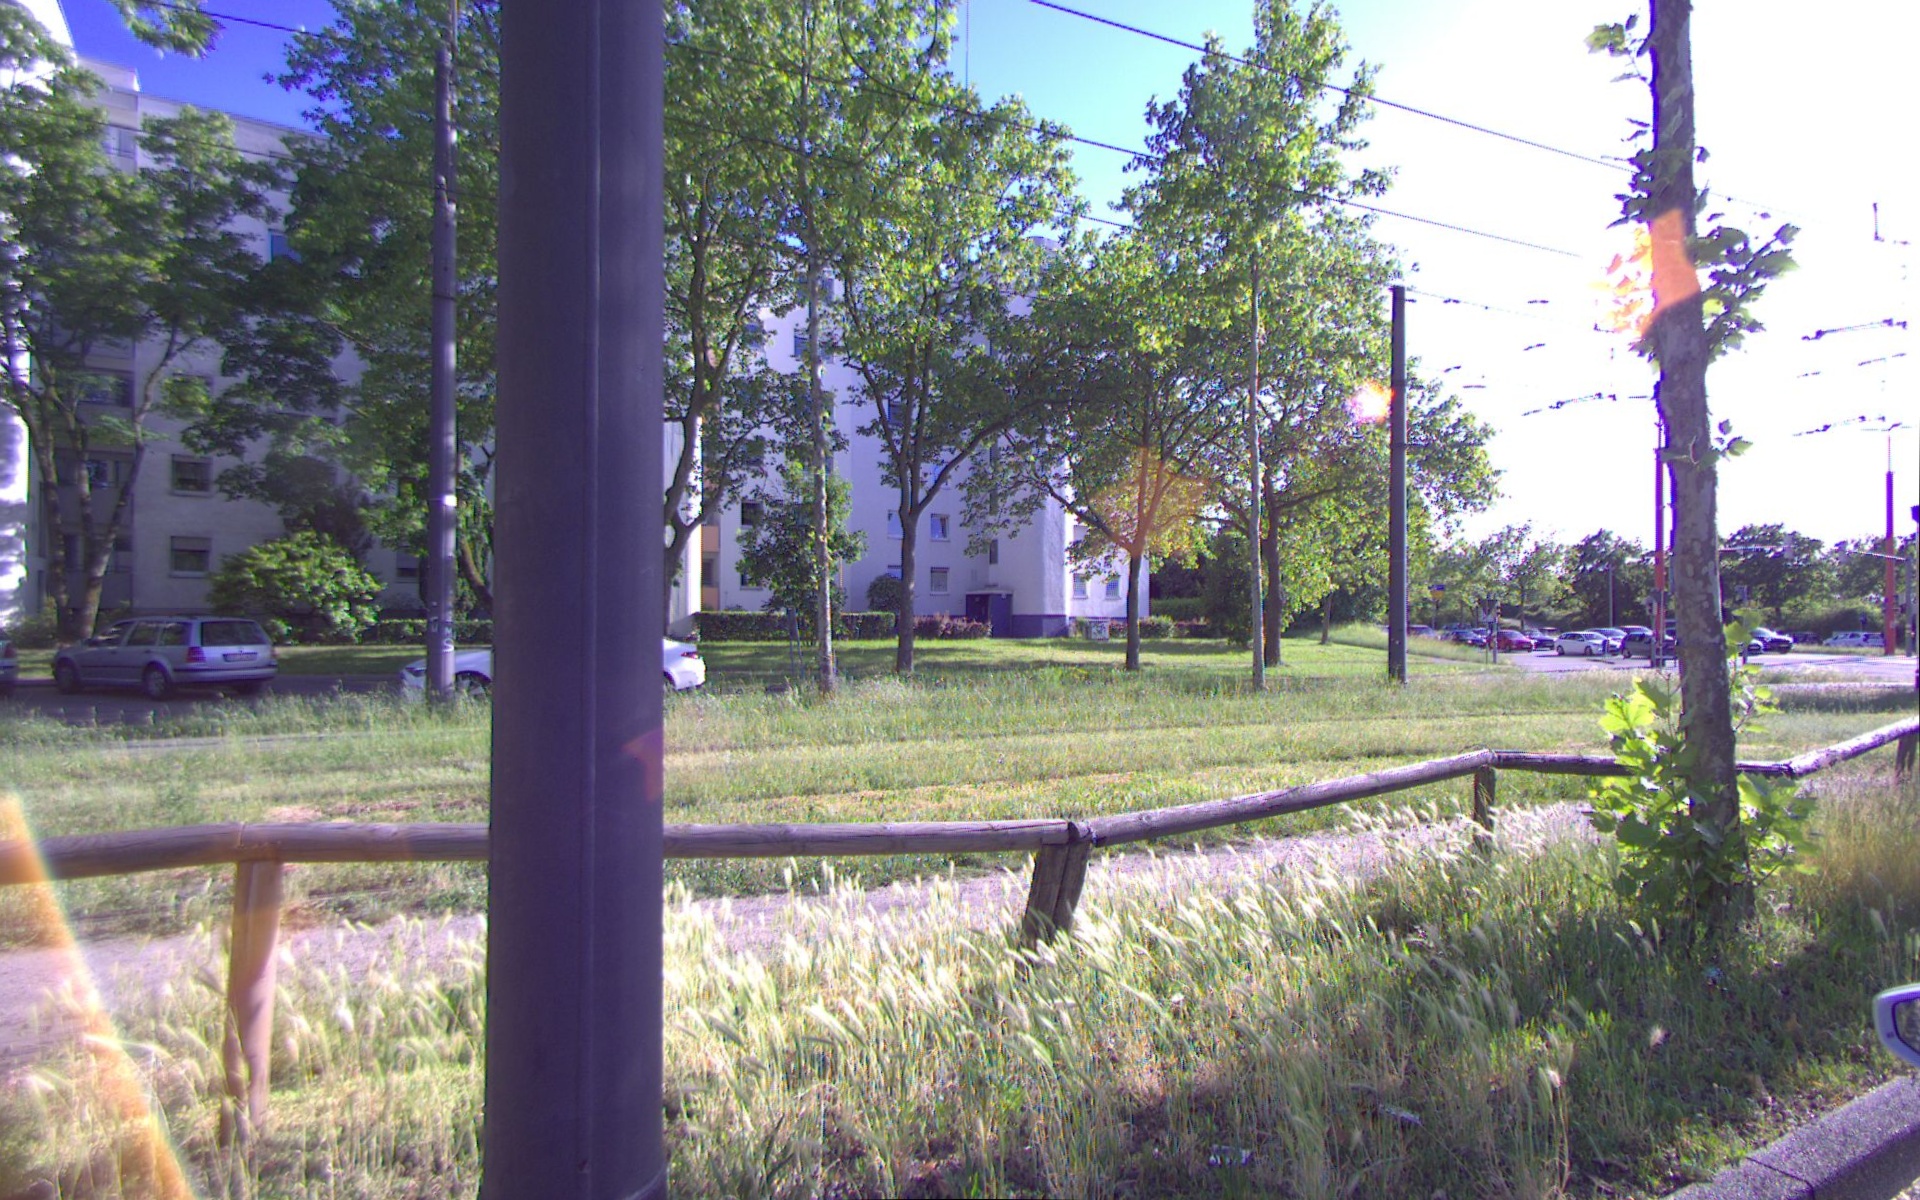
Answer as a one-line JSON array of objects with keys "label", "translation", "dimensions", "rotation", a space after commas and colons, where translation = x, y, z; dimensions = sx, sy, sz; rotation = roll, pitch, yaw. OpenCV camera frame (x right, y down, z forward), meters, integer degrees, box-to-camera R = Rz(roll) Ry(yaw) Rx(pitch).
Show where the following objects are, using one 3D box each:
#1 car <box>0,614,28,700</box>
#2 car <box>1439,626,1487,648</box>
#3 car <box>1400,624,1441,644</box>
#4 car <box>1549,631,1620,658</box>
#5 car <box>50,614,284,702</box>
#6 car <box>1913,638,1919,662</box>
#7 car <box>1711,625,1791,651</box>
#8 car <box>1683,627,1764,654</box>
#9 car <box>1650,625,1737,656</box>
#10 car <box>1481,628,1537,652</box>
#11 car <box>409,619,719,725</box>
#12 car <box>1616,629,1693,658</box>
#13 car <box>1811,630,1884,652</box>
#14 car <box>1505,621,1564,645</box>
[{"label": "car", "translation": [-17.987, 0.942, 17.150], "dimensions": [3.567, 1.421, 1.581], "rotation": [1, 0, 20]}, {"label": "car", "translation": [38.659, 2.808, 77.247], "dimensions": [1.624, 1.540, 4.200], "rotation": [1, -1, 1]}, {"label": "car", "translation": [38.641, 2.807, 84.387], "dimensions": [1.624, 1.540, 4.200], "rotation": [1, -1, 1]}, {"label": "car", "translation": [38.916, 2.749, 62.729], "dimensions": [1.624, 1.540, 4.638], "rotation": [1, -1, 1]}, {"label": "car", "translation": [-14.538, 1.005, 18.424], "dimensions": [3.830, 1.421, 1.581], "rotation": [1, 0, 20]}, {"label": "car", "translation": [59.921, 3.079, 60.112], "dimensions": [1.625, 1.421, 4.128], "rotation": [1, -1, -6]}, {"label": "car", "translation": [48.651, 2.317, 61.890], "dimensions": [1.513, 1.434, 4.154], "rotation": [1, -1, -3]}, {"label": "car", "translation": [45.572, 2.387, 60.056], "dimensions": [1.513, 1.434, 4.154], "rotation": [1, -1, -3]}, {"label": "car", "translation": [42.325, 2.303, 58.099], "dimensions": [1.624, 1.669, 4.644], "rotation": [1, -1, 1]}, {"label": "car", "translation": [38.446, 2.769, 70.445], "dimensions": [1.624, 1.540, 4.200], "rotation": [1, -1, 1]}, {"label": "car", "translation": [-6.485, 1.108, 16.609], "dimensions": [4.588, 1.530, 1.643], "rotation": [1, -1, -30]}, {"label": "car", "translation": [38.963, 2.402, 56.442], "dimensions": [1.624, 1.460, 3.841], "rotation": [1, -1, -2]}, {"label": "car", "translation": [63.208, 2.932, 71.596], "dimensions": [1.626, 1.421, 3.800], "rotation": [1, -1, -7]}, {"label": "car", "translation": [42.267, 2.424, 74.064], "dimensions": [1.721, 1.669, 4.644], "rotation": [1, -1, 1]}]
